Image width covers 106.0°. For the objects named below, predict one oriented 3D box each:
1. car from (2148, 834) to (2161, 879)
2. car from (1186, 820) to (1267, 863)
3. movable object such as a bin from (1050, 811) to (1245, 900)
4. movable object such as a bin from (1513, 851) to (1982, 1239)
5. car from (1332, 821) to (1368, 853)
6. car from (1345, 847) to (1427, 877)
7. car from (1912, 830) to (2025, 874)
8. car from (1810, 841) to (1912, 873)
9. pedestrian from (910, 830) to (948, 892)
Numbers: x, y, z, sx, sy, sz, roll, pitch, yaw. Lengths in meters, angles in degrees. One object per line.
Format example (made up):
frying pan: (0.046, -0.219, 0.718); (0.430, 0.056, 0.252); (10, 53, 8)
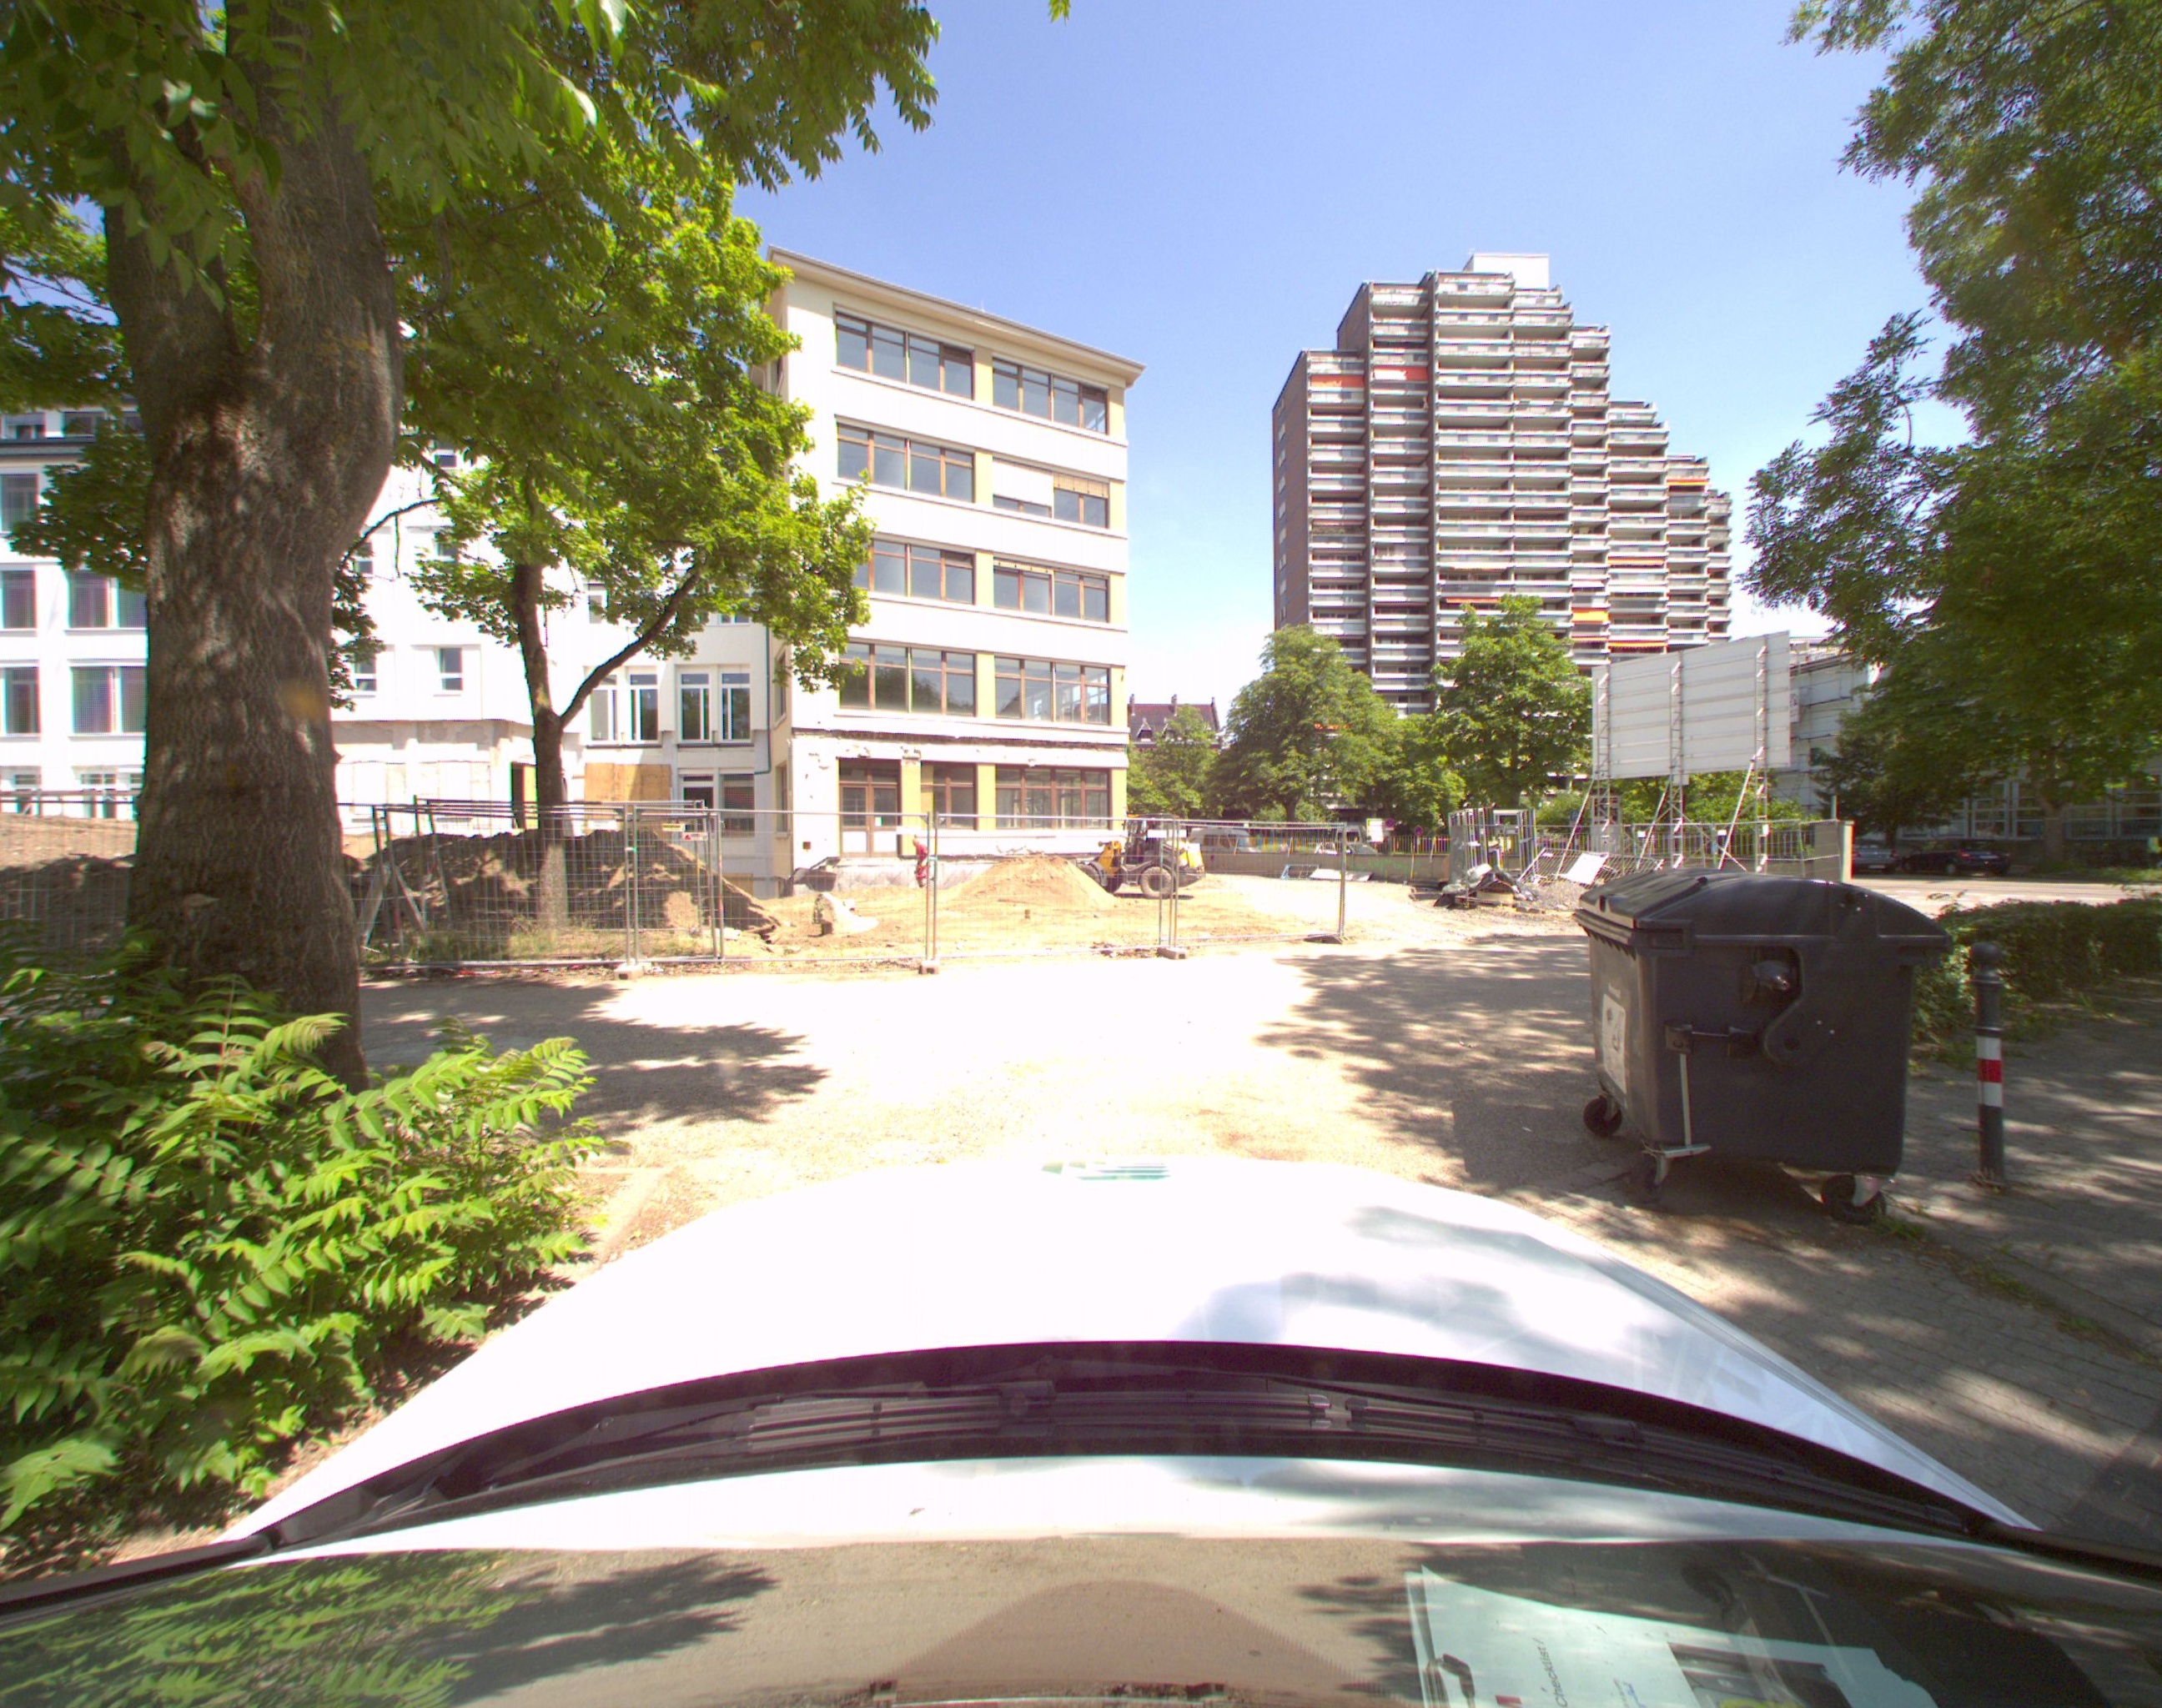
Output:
car: (38.443, 0.099, 27.123); (1.651, 1.589, 3.708); (-1, 1, 16)
car: (8.643, -0.742, 49.011); (2.005, 2.416, 5.196); (-1, 1, -28)
movable object such as a bin: (2.034, -0.026, 24.555); (5.357, 2.464, 2.380); (1, 1, 21)
movable object such as a bin: (2.902, 0.728, 3.789); (1.071, 1.458, 1.378); (-1, 0, 2)
car: (20.187, -1.274, 60.914); (2.165, 2.258, 4.895); (-1, 1, 22)
car: (14.396, 0.348, 38.446); (3.735, 1.320, 1.599); (-1, 0, -29)
car: (35.444, -0.105, 32.663); (1.992, 1.629, 3.955); (0, 1, 31)
car: (33.646, 0.118, 35.274); (1.897, 1.310, 3.952); (-1, 1, 22)
pedestrian: (-4.611, 0.195, 24.673); (0.986, 1.846, 0.911); (-1, 0, -20)
